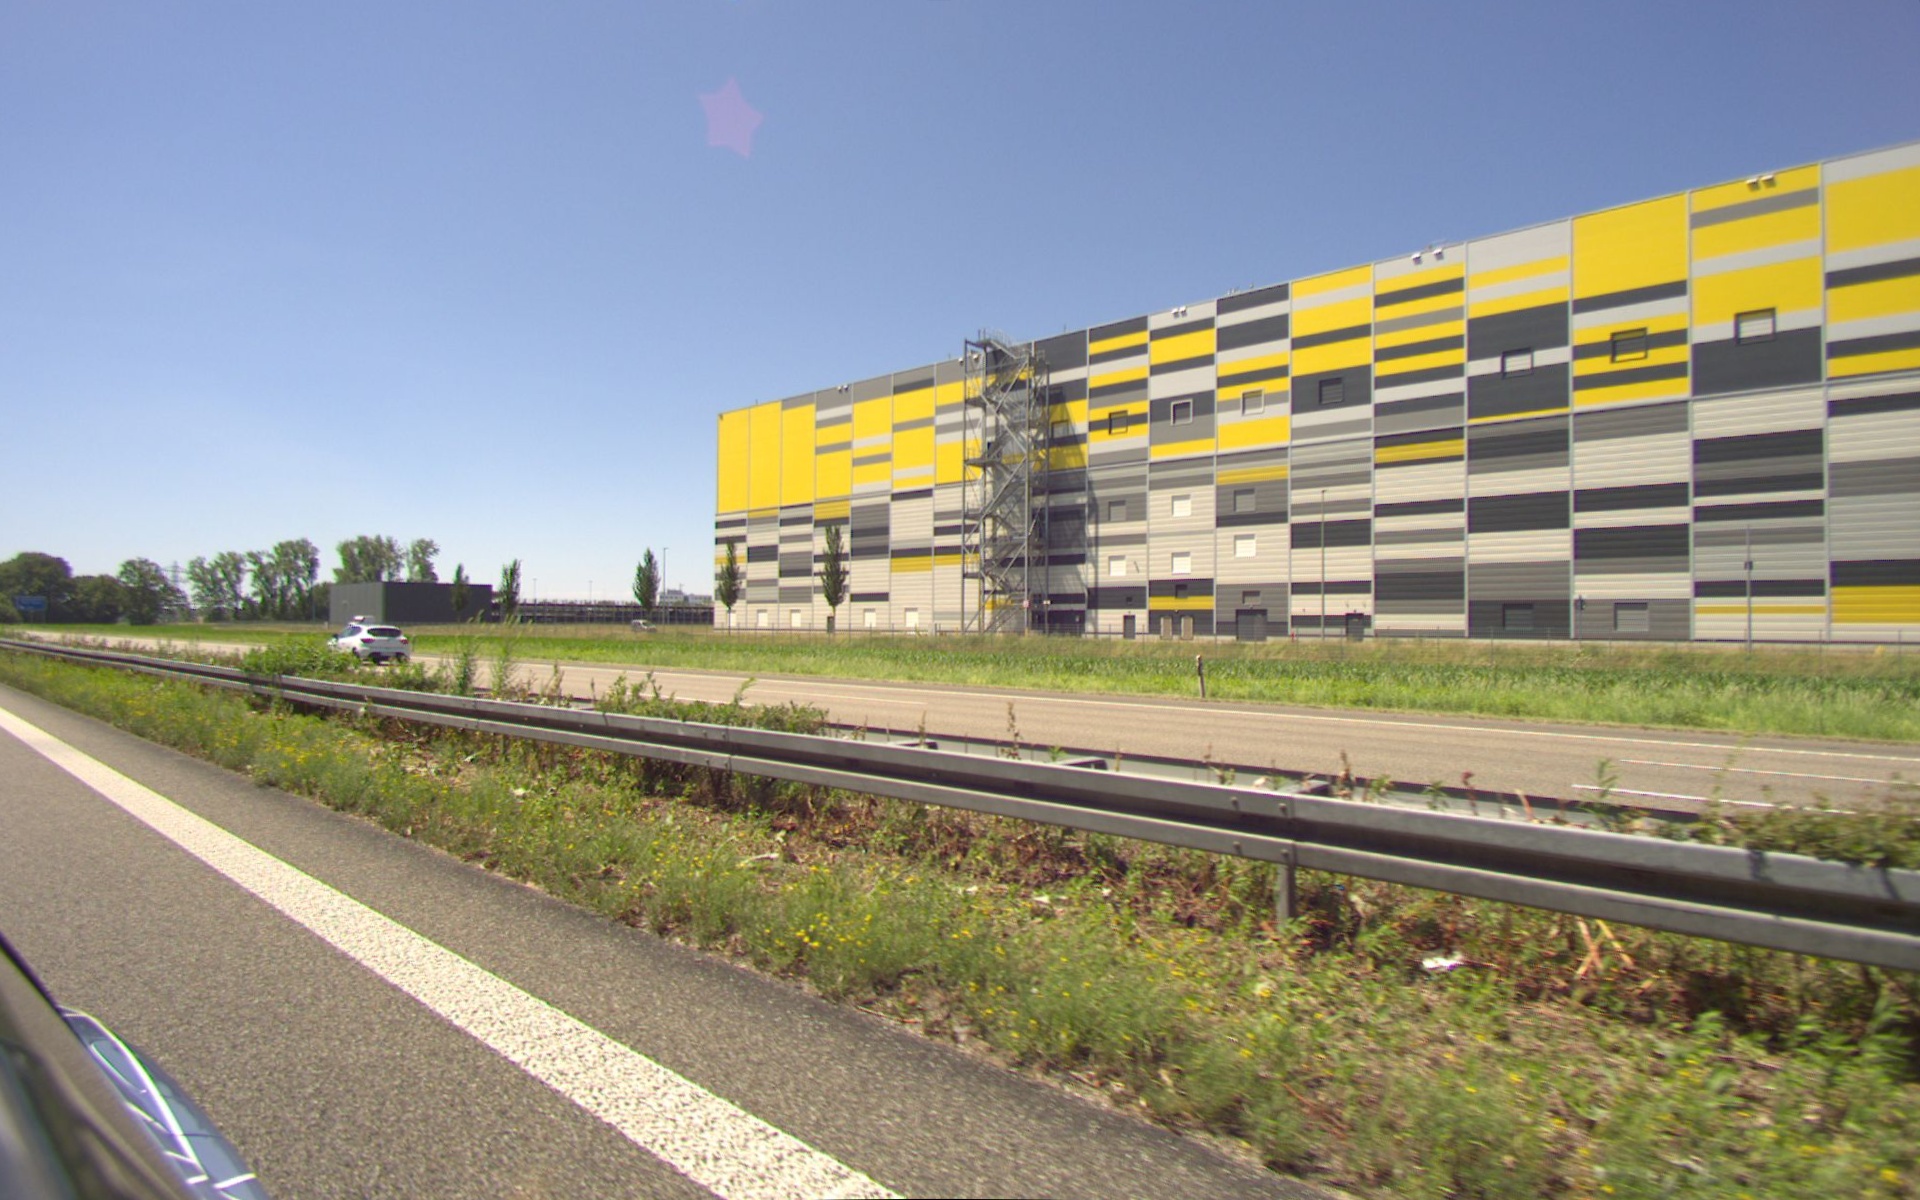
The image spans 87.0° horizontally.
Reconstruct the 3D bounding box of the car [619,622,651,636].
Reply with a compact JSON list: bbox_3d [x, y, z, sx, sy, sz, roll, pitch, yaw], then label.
[{"bbox_3d":[-40.822,3.624,127.015,4.266,1.750,1.808,-1,-3,41],"label":"car"}]

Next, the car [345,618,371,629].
[{"bbox_3d":[-120.973,4.755,203.384,6.078,2.265,2.527,-1,-3,41],"label":"car"}]

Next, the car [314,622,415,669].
[{"bbox_3d":[-21.161,1.574,35.911,4.481,1.544,1.780,-1,-2,42],"label":"car"}]

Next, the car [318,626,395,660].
[{"bbox_3d":[-28.746,2.003,48.161,4.629,1.544,1.781,-1,-2,41],"label":"car"}]
